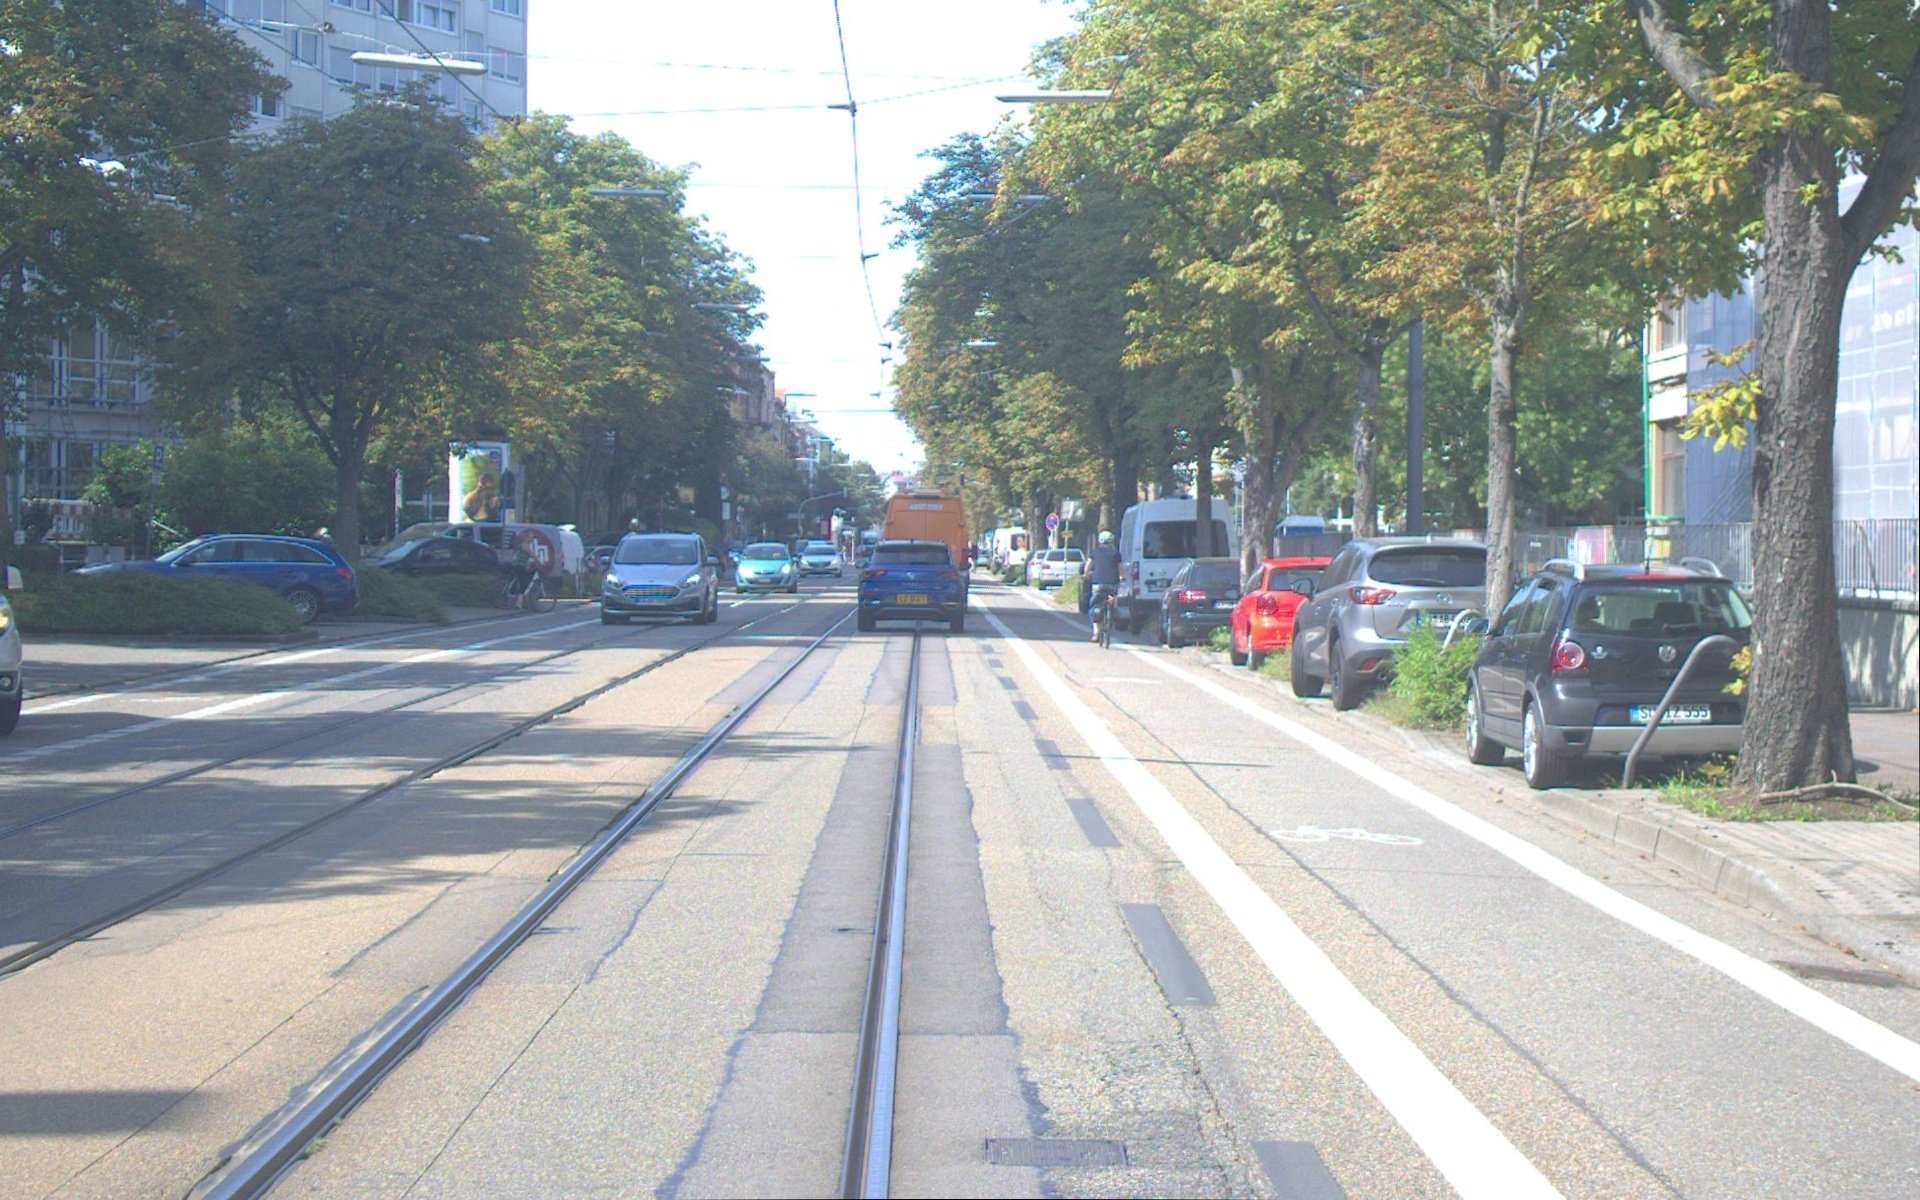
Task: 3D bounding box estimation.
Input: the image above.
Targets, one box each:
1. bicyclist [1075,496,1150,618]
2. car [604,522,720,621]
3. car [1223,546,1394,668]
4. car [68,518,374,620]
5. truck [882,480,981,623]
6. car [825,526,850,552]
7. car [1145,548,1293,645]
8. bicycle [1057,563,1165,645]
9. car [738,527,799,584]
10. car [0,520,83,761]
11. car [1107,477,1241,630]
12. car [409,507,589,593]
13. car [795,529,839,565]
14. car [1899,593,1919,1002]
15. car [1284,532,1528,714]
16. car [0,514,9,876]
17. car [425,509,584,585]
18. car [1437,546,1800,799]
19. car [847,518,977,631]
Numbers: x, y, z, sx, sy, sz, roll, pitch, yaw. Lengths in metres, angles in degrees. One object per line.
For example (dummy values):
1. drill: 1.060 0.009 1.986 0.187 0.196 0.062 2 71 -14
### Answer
1. bicyclist: 2.298 -0.651 51.837 1.031 1.806 1.016 1 1 0
2. car: -5.318 -0.536 61.855 1.780 1.678 4.348 1 1 -1
3. car: 4.496 0.062 44.818 1.740 1.457 3.684 1 1 -1
4. car: -12.115 -0.505 56.354 4.568 1.547 2.001 1 1 -24
5. truck: -0.629 -1.115 77.979 2.135 3.113 6.085 0 1 0
6. car: -8.833 -4.425 248.393 1.747 1.790 4.000 1 1 -1
7. car: 4.097 -0.084 54.957 1.908 1.427 4.293 1 1 -1
8. bicycle: 2.248 0.031 51.869 1.401 1.130 4.000 1 1 -1
9. car: -5.608 -1.324 101.072 1.633 1.579 4.189 1 1 -1
10. car: -8.358 0.243 27.123 1.747 1.790 4.000 1 1 -30
11. car: 4.020 -0.905 65.538 1.993 2.746 5.762 1 1 -1
12. car: -11.278 -1.207 84.161 3.989 2.007 1.856 0 1 -43
13. car: -6.416 -2.380 154.795 1.898 1.556 4.123 1 1 -2
14. car: 4.526 0.788 11.248 1.743 1.550 4.217 0 1 0
15. car: 4.390 0.177 34.436 1.740 1.662 4.362 1 1 -1
16. car: -4.992 0.440 12.856 1.681 1.566 4.206 1 1 0
17. car: -12.553 -1.462 94.830 3.989 2.007 1.856 0 1 -43
18. car: 4.551 0.435 24.344 1.633 1.579 4.189 1 1 -1
19. car: -0.804 -0.472 59.310 2.135 1.852 5.568 0 1 0
